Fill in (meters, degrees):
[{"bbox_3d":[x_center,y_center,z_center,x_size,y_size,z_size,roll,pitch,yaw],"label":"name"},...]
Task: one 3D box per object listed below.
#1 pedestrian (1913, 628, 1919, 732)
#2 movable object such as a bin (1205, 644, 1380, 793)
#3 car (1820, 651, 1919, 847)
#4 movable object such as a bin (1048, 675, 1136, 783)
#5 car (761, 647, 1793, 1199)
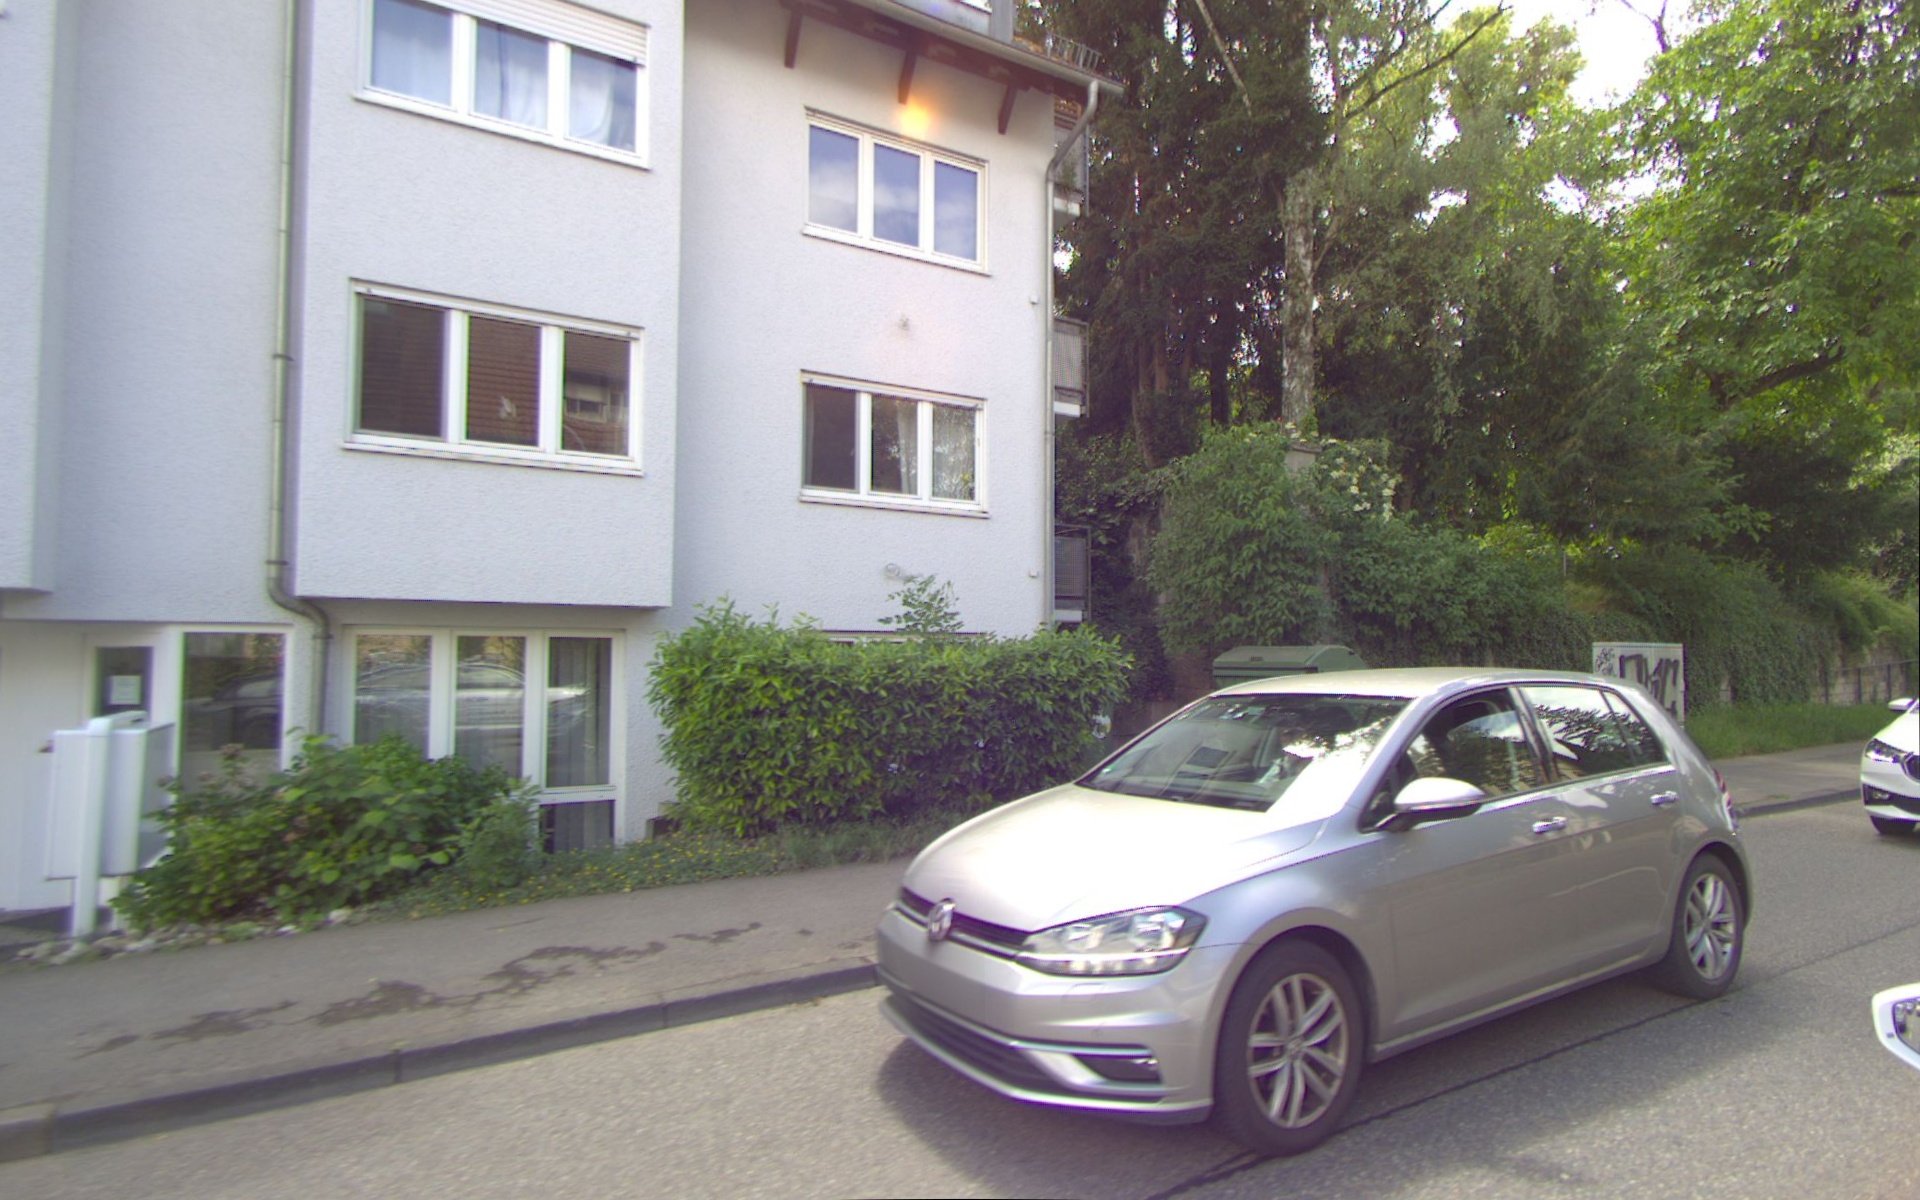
[{"bbox_3d":[16.018,1.296,16.261,0.923,1.688,0.649,2,-3,-35],"label":"pedestrian"},{"bbox_3d":[3.520,1.195,10.684,1.202,1.446,1.321,2,-3,-36],"label":"movable object such as a bin"},{"bbox_3d":[9.058,1.124,8.282,3.924,1.458,1.752,1,-5,-30],"label":"car"},{"bbox_3d":[1.427,1.368,10.870,0.705,1.090,0.637,2,-3,-31],"label":"movable object such as a bin"},{"bbox_3d":[1.481,0.990,4.210,4.238,1.474,1.702,2,-6,-31],"label":"car"}]
